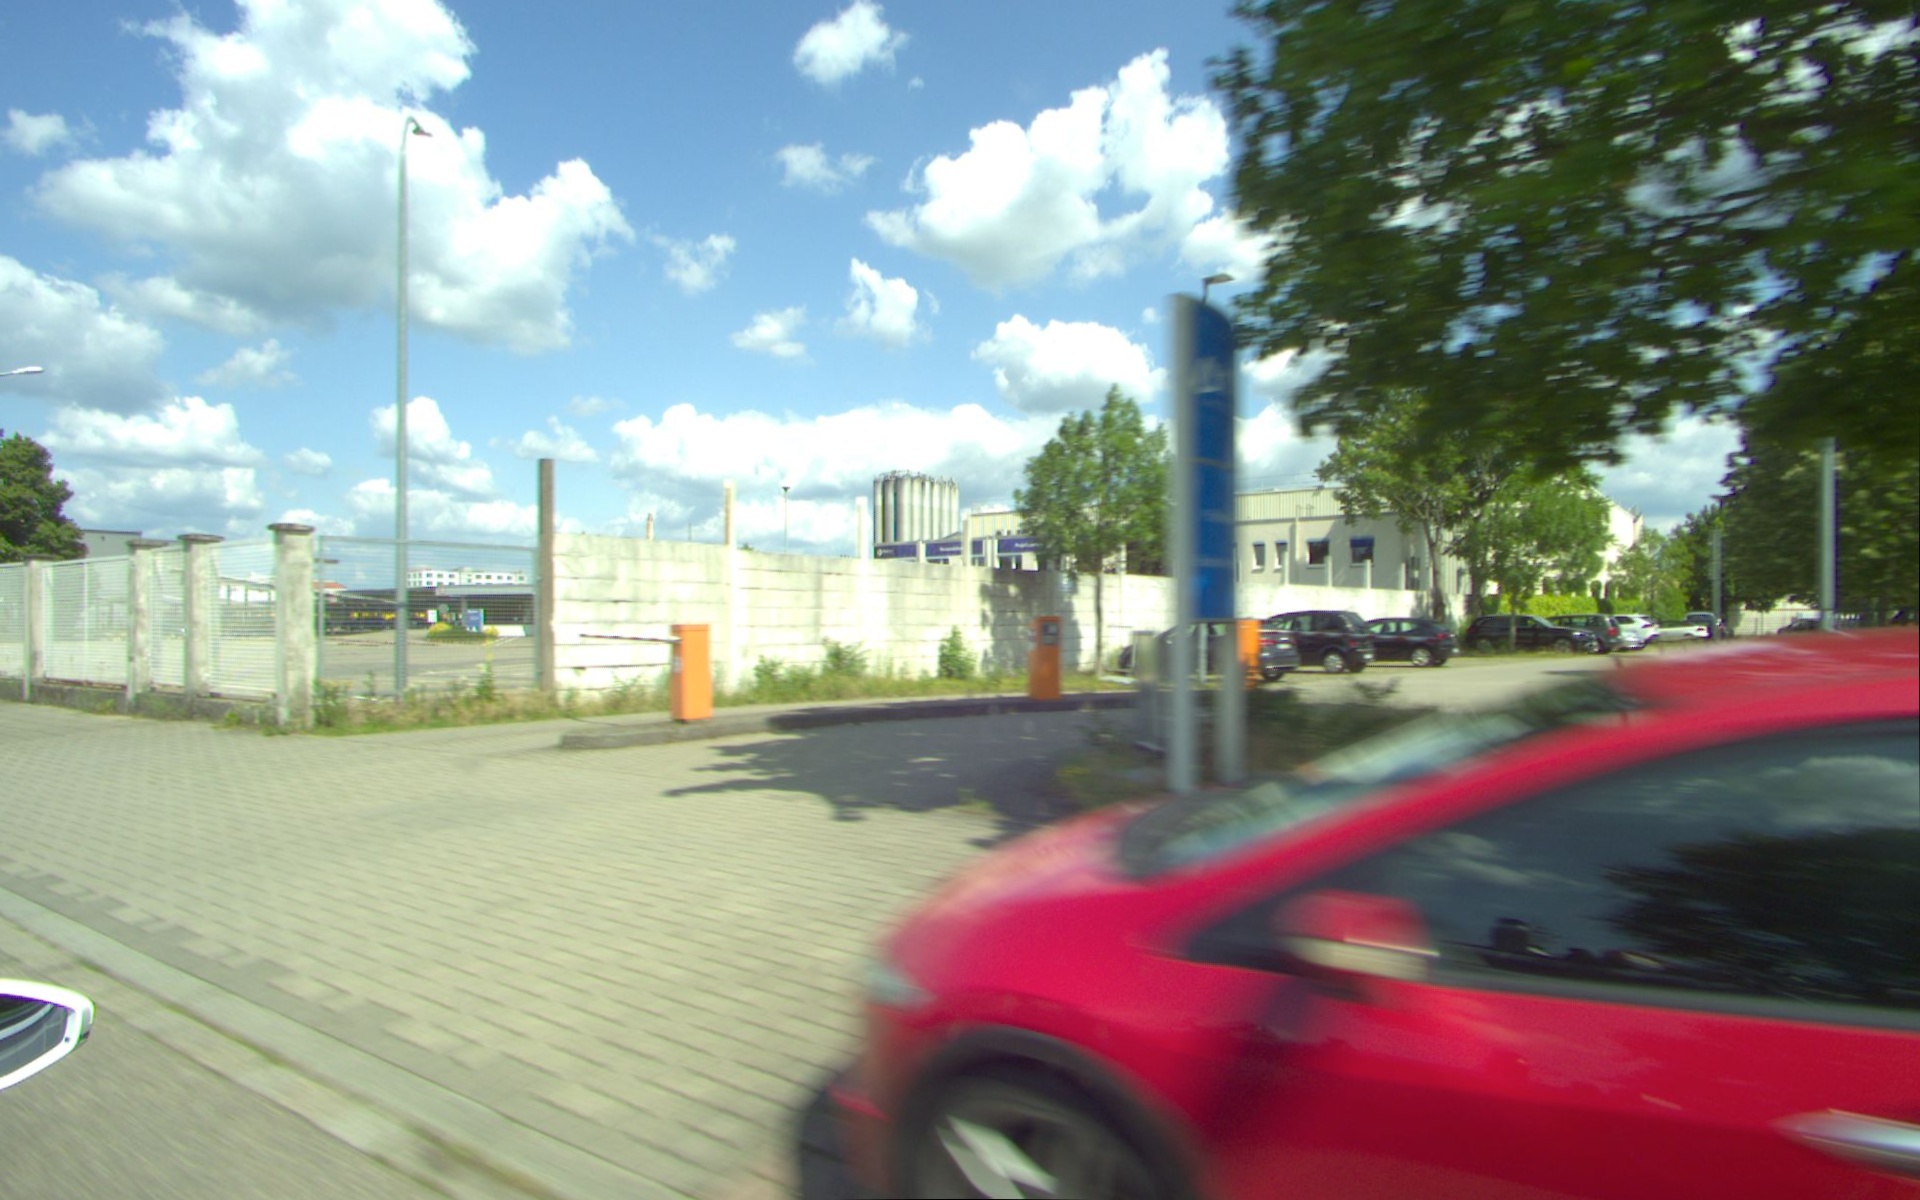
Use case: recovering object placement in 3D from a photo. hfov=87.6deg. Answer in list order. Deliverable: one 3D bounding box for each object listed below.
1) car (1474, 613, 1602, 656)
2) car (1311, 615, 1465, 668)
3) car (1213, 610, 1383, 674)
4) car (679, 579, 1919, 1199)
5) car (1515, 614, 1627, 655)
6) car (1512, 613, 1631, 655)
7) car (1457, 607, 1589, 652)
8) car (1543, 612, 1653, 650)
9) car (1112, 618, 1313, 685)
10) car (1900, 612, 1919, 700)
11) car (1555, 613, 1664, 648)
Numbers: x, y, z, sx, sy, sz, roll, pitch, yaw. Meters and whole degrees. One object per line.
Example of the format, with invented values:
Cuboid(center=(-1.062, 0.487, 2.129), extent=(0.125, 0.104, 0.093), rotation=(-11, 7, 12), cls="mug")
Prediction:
Cuboid(center=(22.230, 1.330, 38.601), extent=(1.722, 1.569, 3.964), rotation=(0, -2, -42), cls="car")
Cuboid(center=(12.753, 1.221, 29.951), extent=(3.951, 1.473, 1.648), rotation=(-2, -1, 38), cls="car")
Cuboid(center=(8.919, 1.092, 26.610), extent=(3.959, 1.569, 1.724), rotation=(-2, -2, 44), cls="car")
Cuboid(center=(1.598, 0.741, 1.893), extent=(4.165, 1.507, 1.749), rotation=(0, 3, 33), cls="car")
Cuboid(center=(24.998, 1.400, 41.026), extent=(1.762, 1.569, 3.618), rotation=(1, -2, -44), cls="car")
Cuboid(center=(25.005, 1.395, 41.003), extent=(1.893, 1.613, 3.849), rotation=(3, -3, -45), cls="car")
Cuboid(center=(20.948, 1.103, 37.355), extent=(1.723, 1.569, 3.963), rotation=(1, -2, -43), cls="car")
Cuboid(center=(28.392, 1.413, 44.630), extent=(1.893, 1.613, 3.849), rotation=(3, -3, -45), cls="car")
Cuboid(center=(5.601, 1.115, 22.564), extent=(4.148, 1.352, 1.625), rotation=(-2, -1, 44), cls="car")
Cuboid(center=(16.008, 0.886, 15.143), extent=(1.985, 1.414, 3.745), rotation=(0, -1, 34), cls="car")
Cuboid(center=(30.254, 1.434, 46.705), extent=(1.735, 1.569, 3.963), rotation=(0, -2, -43), cls="car")
